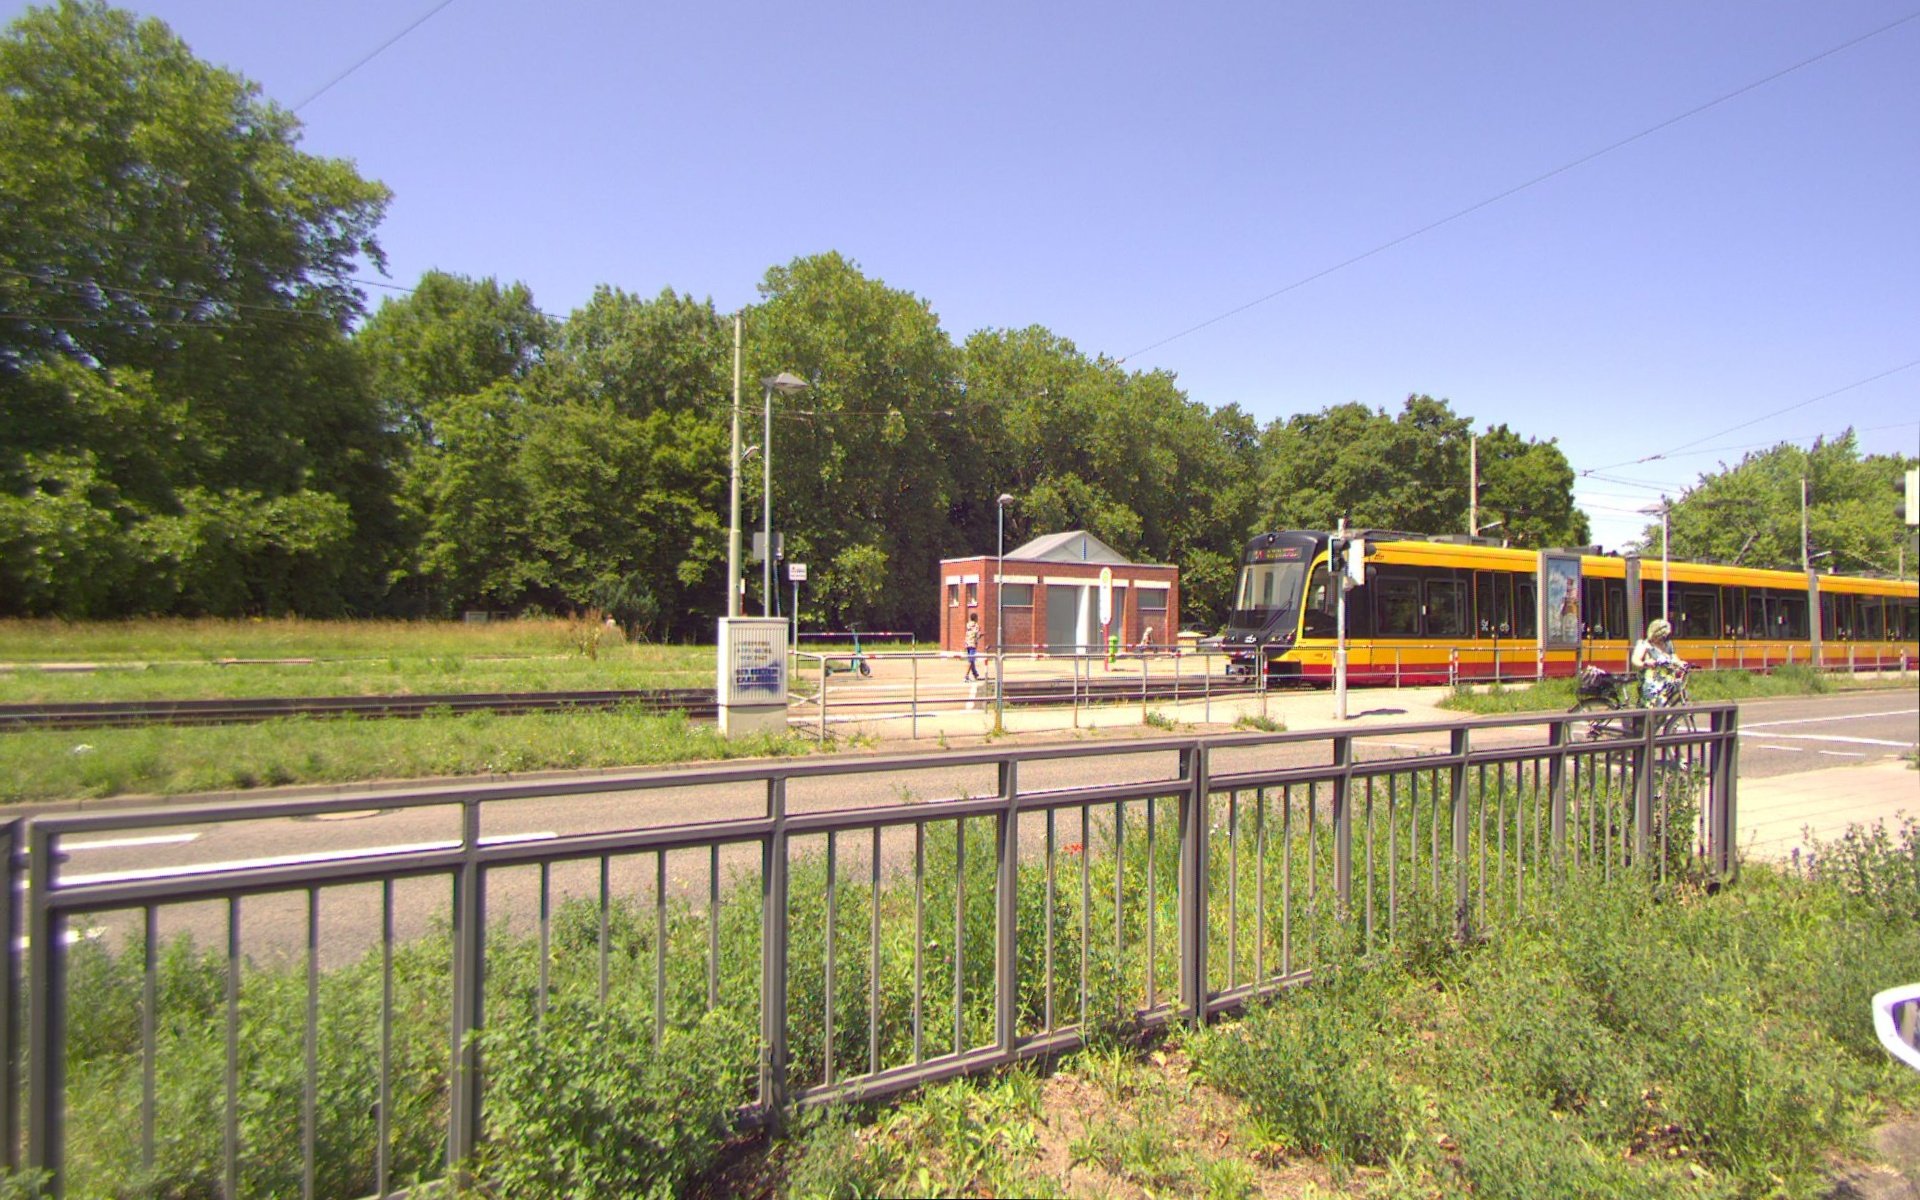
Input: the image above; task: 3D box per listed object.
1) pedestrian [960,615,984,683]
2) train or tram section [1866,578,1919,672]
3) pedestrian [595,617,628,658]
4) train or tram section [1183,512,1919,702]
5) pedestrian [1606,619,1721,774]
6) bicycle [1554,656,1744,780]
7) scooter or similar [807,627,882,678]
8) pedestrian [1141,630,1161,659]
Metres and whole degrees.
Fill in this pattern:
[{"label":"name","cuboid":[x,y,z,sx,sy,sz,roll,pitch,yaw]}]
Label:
[{"label":"pedestrian","cuboid":[0.270,1.127,23.570,0.527,1.561,0.869,1,-1,-1]},{"label":"train or tram section","cuboid":[48.616,1.268,46.147,25.693,3.717,2.774,1,-1,-30]},{"label":"pedestrian","cuboid":[-14.984,1.597,43.209,1.245,1.724,0.517,1,-1,16]},{"label":"train or tram section","cuboid":[21.560,0.561,30.221,37.077,3.717,2.774,1,-1,-30]},{"label":"pedestrian","cuboid":[7.881,1.045,11.275,0.695,1.650,0.817,1,-1,-24]},{"label":"bicycle","cuboid":[7.472,1.237,11.001,0.239,1.172,1.858,1,-1,-24]},{"label":"scooter or similar","cuboid":[-2.719,1.222,23.634,1.640,1.142,0.613,1,-1,15]},{"label":"pedestrian","cuboid":[6.722,1.562,35.335,0.515,1.032,0.479,1,-1,-28]}]
